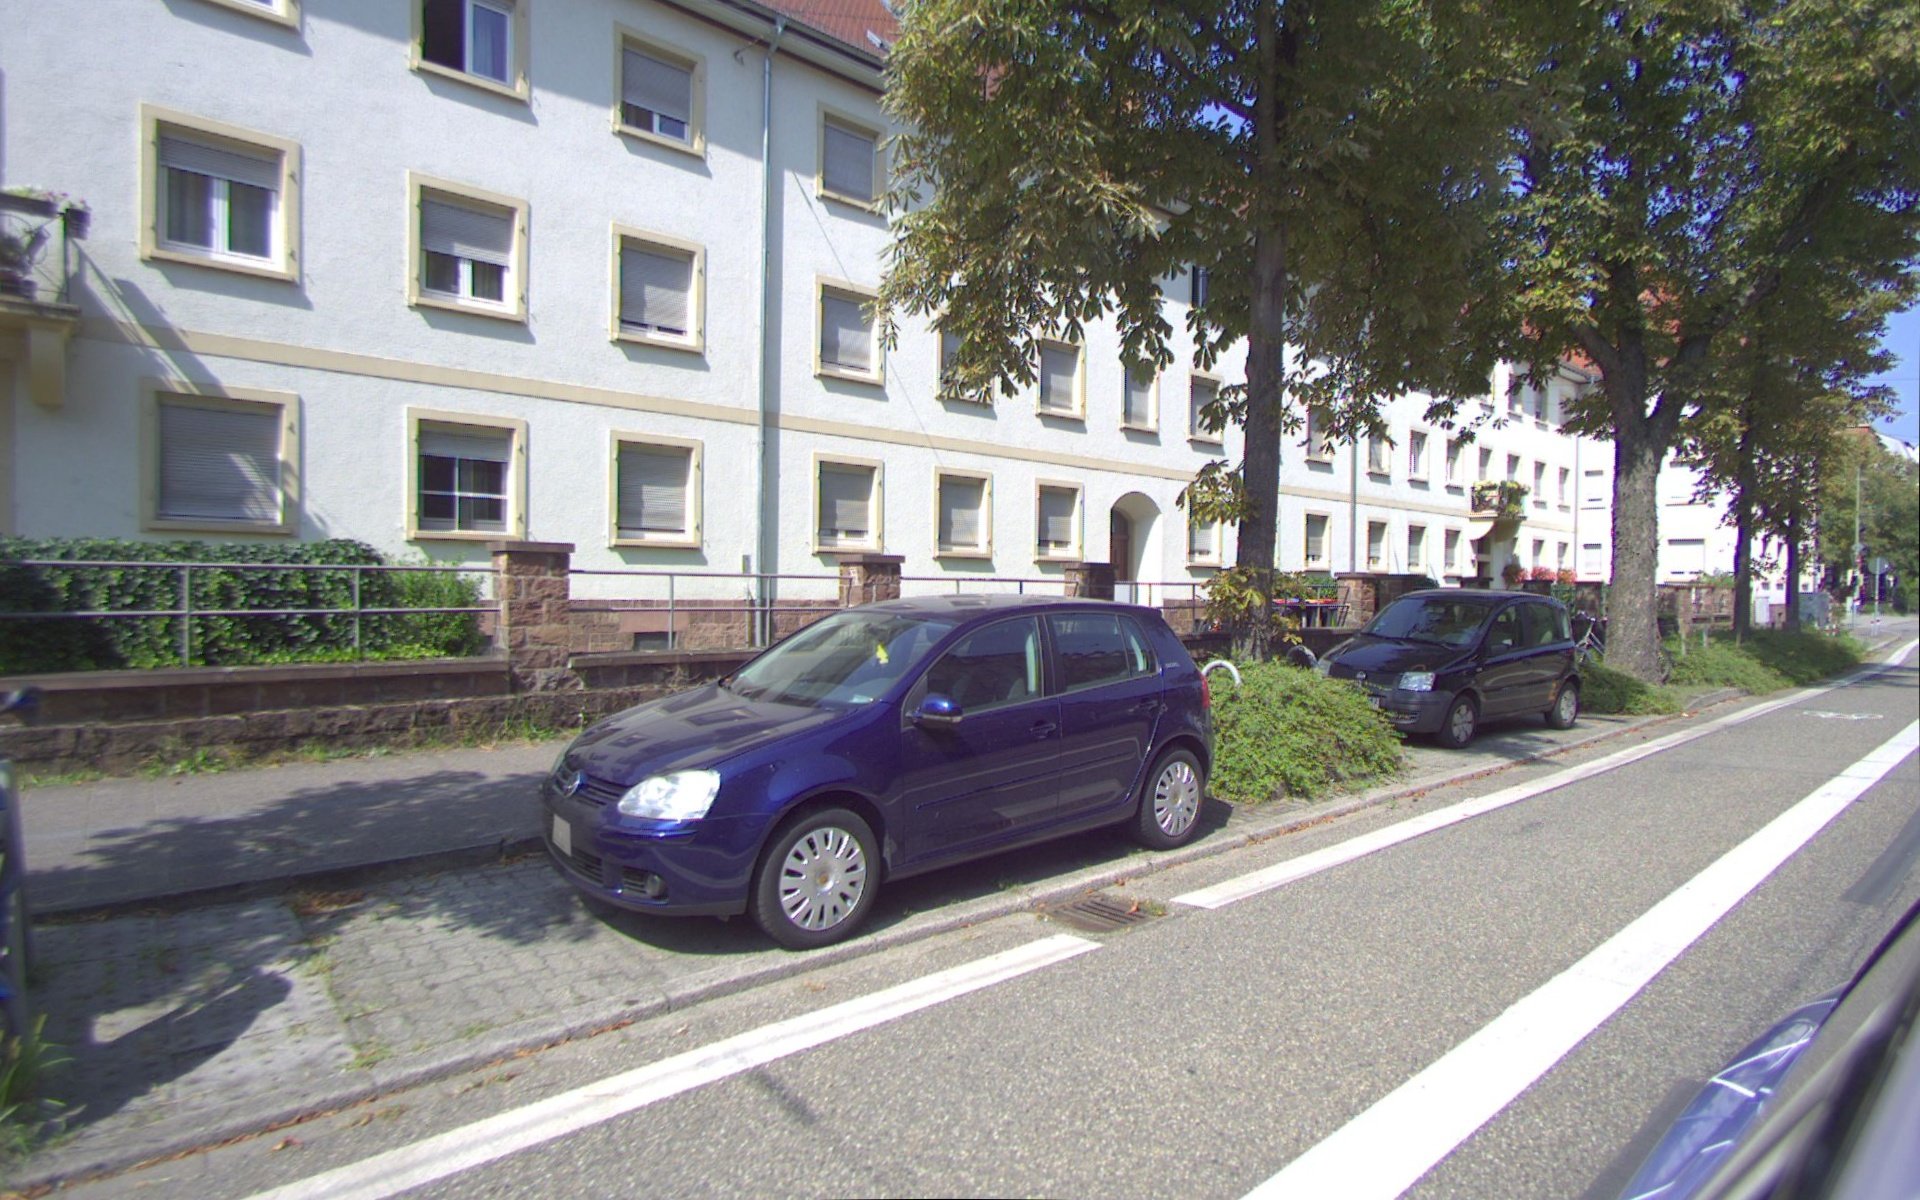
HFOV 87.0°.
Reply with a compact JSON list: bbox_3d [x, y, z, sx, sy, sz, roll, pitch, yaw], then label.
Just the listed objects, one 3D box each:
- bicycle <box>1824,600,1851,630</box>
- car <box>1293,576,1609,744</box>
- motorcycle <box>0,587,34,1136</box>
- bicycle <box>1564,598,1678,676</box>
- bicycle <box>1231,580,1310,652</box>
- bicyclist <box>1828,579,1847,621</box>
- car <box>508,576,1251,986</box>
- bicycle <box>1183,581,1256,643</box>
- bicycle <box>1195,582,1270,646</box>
[{"bbox_3d":[32.315,0.527,37.258,1.796,1.060,0.441,0,1,-39],"label":"bicycle"},{"bbox_3d":[5.455,0.541,11.156,3.432,1.549,1.623,0,2,-34],"label":"car"},{"bbox_3d":[-3.379,0.668,3.117,0.769,1.385,2.006,0,1,-43],"label":"motorcycle"},{"bbox_3d":[9.975,0.550,15.298,1.372,1.122,0.388,1,1,15],"label":"bicycle"},{"bbox_3d":[5.291,0.252,17.208,1.688,1.175,0.468,0,1,-42],"label":"bicycle"},{"bbox_3d":[32.280,-0.007,37.222,0.463,1.531,0.438,0,1,-39],"label":"bicyclist"},{"bbox_3d":[-0.210,0.649,5.686,3.968,1.495,1.620,0,3,-41],"label":"car"},{"bbox_3d":[4.888,0.208,19.036,1.688,1.107,0.468,0,1,-42],"label":"bicycle"},{"bbox_3d":[4.933,0.225,18.253,1.688,1.107,0.468,0,1,-42],"label":"bicycle"}]
